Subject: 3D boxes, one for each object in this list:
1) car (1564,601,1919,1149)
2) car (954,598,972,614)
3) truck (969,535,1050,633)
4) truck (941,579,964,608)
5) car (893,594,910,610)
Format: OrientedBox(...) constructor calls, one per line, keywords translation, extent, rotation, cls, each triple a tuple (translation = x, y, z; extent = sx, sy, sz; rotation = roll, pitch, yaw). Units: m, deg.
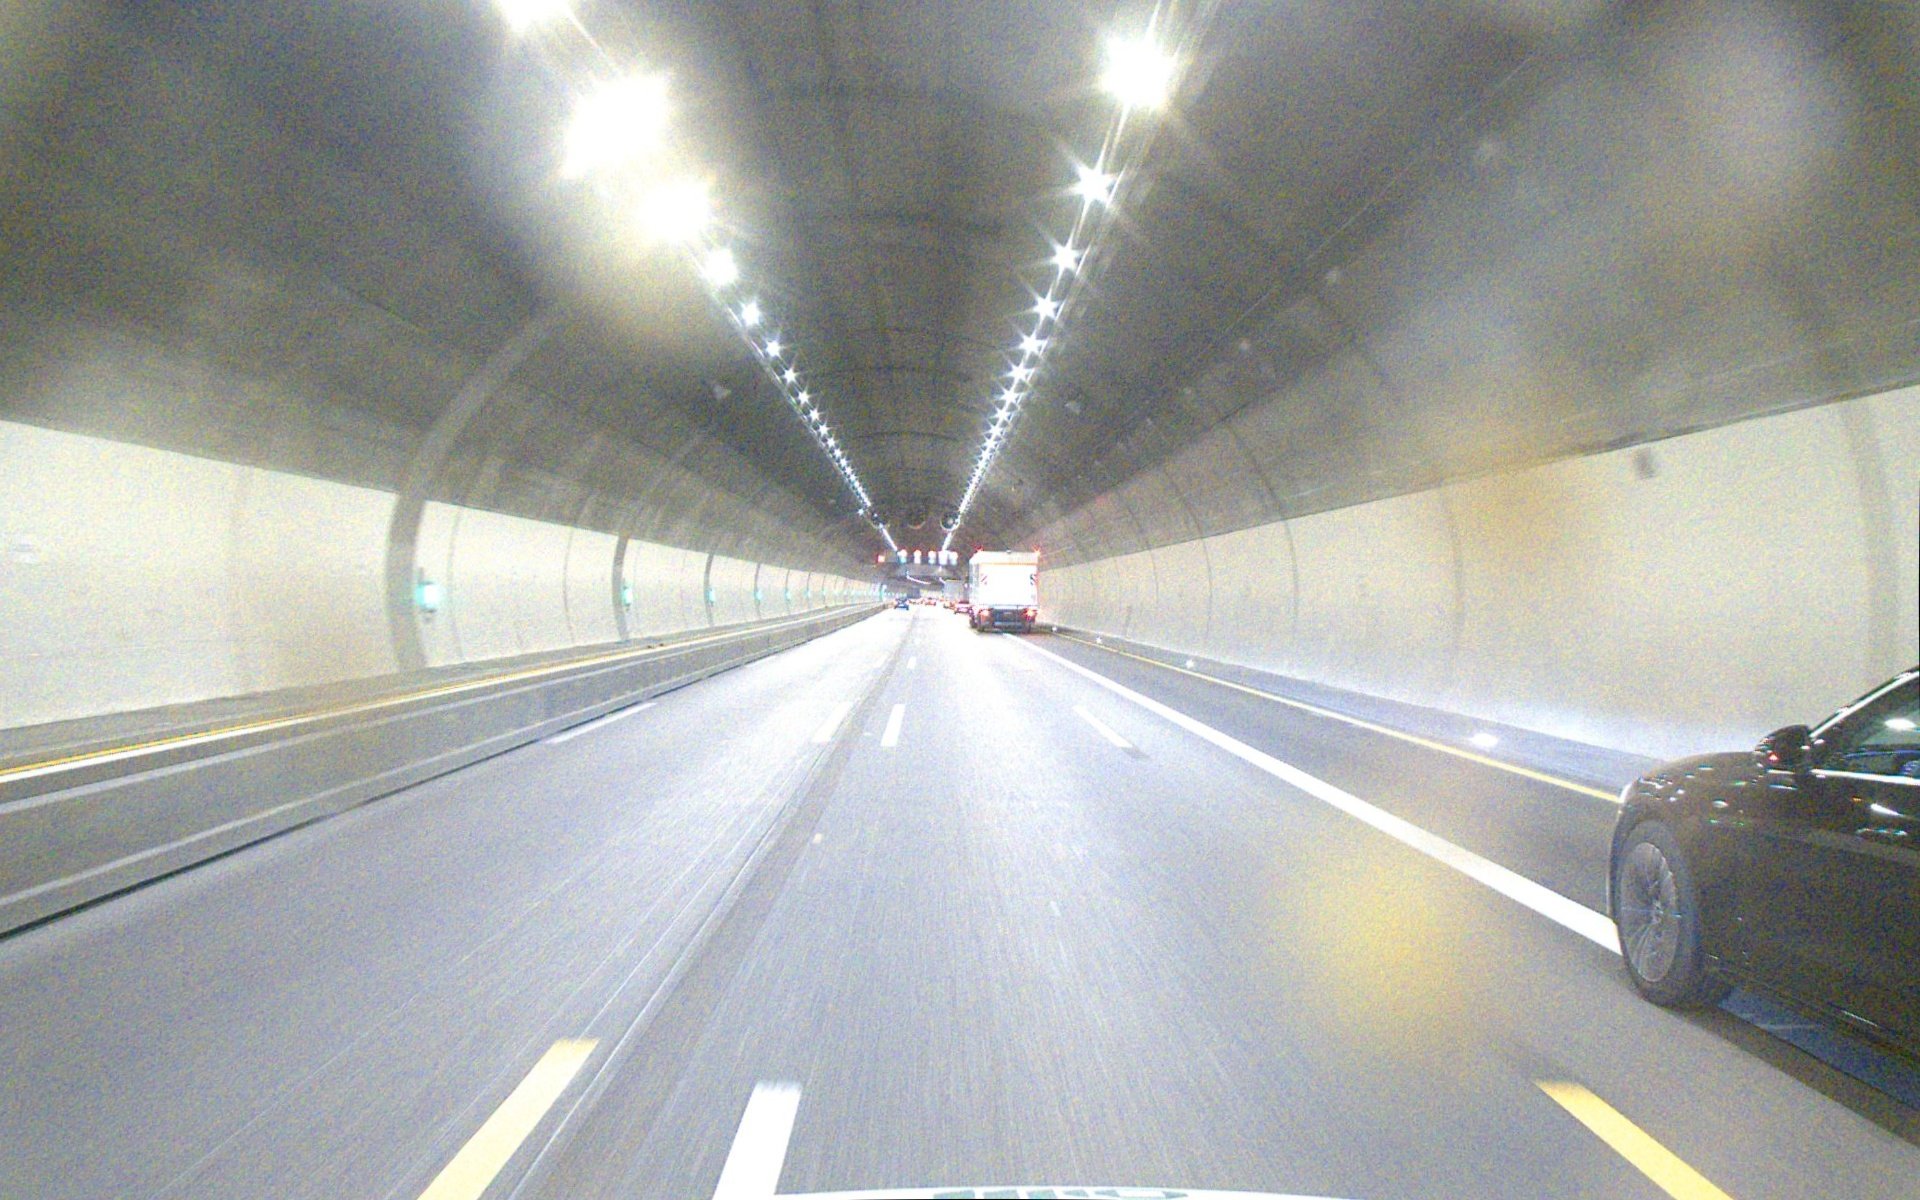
OrientedBox(translation=(3.586, 0.783, 4.647), extent=(1.886, 1.498, 4.953), rotation=(2, 0, -1), cls="car")
OrientedBox(translation=(0.272, 0.578, 162.713), extent=(1.704, 1.486, 3.960), rotation=(2, 1, 0), cls="car")
OrientedBox(translation=(2.081, -0.604, 73.970), extent=(3.029, 3.986, 10.365), rotation=(2, -1, -1), cls="truck")
OrientedBox(translation=(-1.056, -0.889, 238.510), extent=(3.004, 3.986, 10.367), rotation=(2, -1, 0), cls="truck")
OrientedBox(translation=(-6.184, 0.204, 174.728), extent=(1.723, 1.486, 4.118), rotation=(2, 1, -1), cls="car")
